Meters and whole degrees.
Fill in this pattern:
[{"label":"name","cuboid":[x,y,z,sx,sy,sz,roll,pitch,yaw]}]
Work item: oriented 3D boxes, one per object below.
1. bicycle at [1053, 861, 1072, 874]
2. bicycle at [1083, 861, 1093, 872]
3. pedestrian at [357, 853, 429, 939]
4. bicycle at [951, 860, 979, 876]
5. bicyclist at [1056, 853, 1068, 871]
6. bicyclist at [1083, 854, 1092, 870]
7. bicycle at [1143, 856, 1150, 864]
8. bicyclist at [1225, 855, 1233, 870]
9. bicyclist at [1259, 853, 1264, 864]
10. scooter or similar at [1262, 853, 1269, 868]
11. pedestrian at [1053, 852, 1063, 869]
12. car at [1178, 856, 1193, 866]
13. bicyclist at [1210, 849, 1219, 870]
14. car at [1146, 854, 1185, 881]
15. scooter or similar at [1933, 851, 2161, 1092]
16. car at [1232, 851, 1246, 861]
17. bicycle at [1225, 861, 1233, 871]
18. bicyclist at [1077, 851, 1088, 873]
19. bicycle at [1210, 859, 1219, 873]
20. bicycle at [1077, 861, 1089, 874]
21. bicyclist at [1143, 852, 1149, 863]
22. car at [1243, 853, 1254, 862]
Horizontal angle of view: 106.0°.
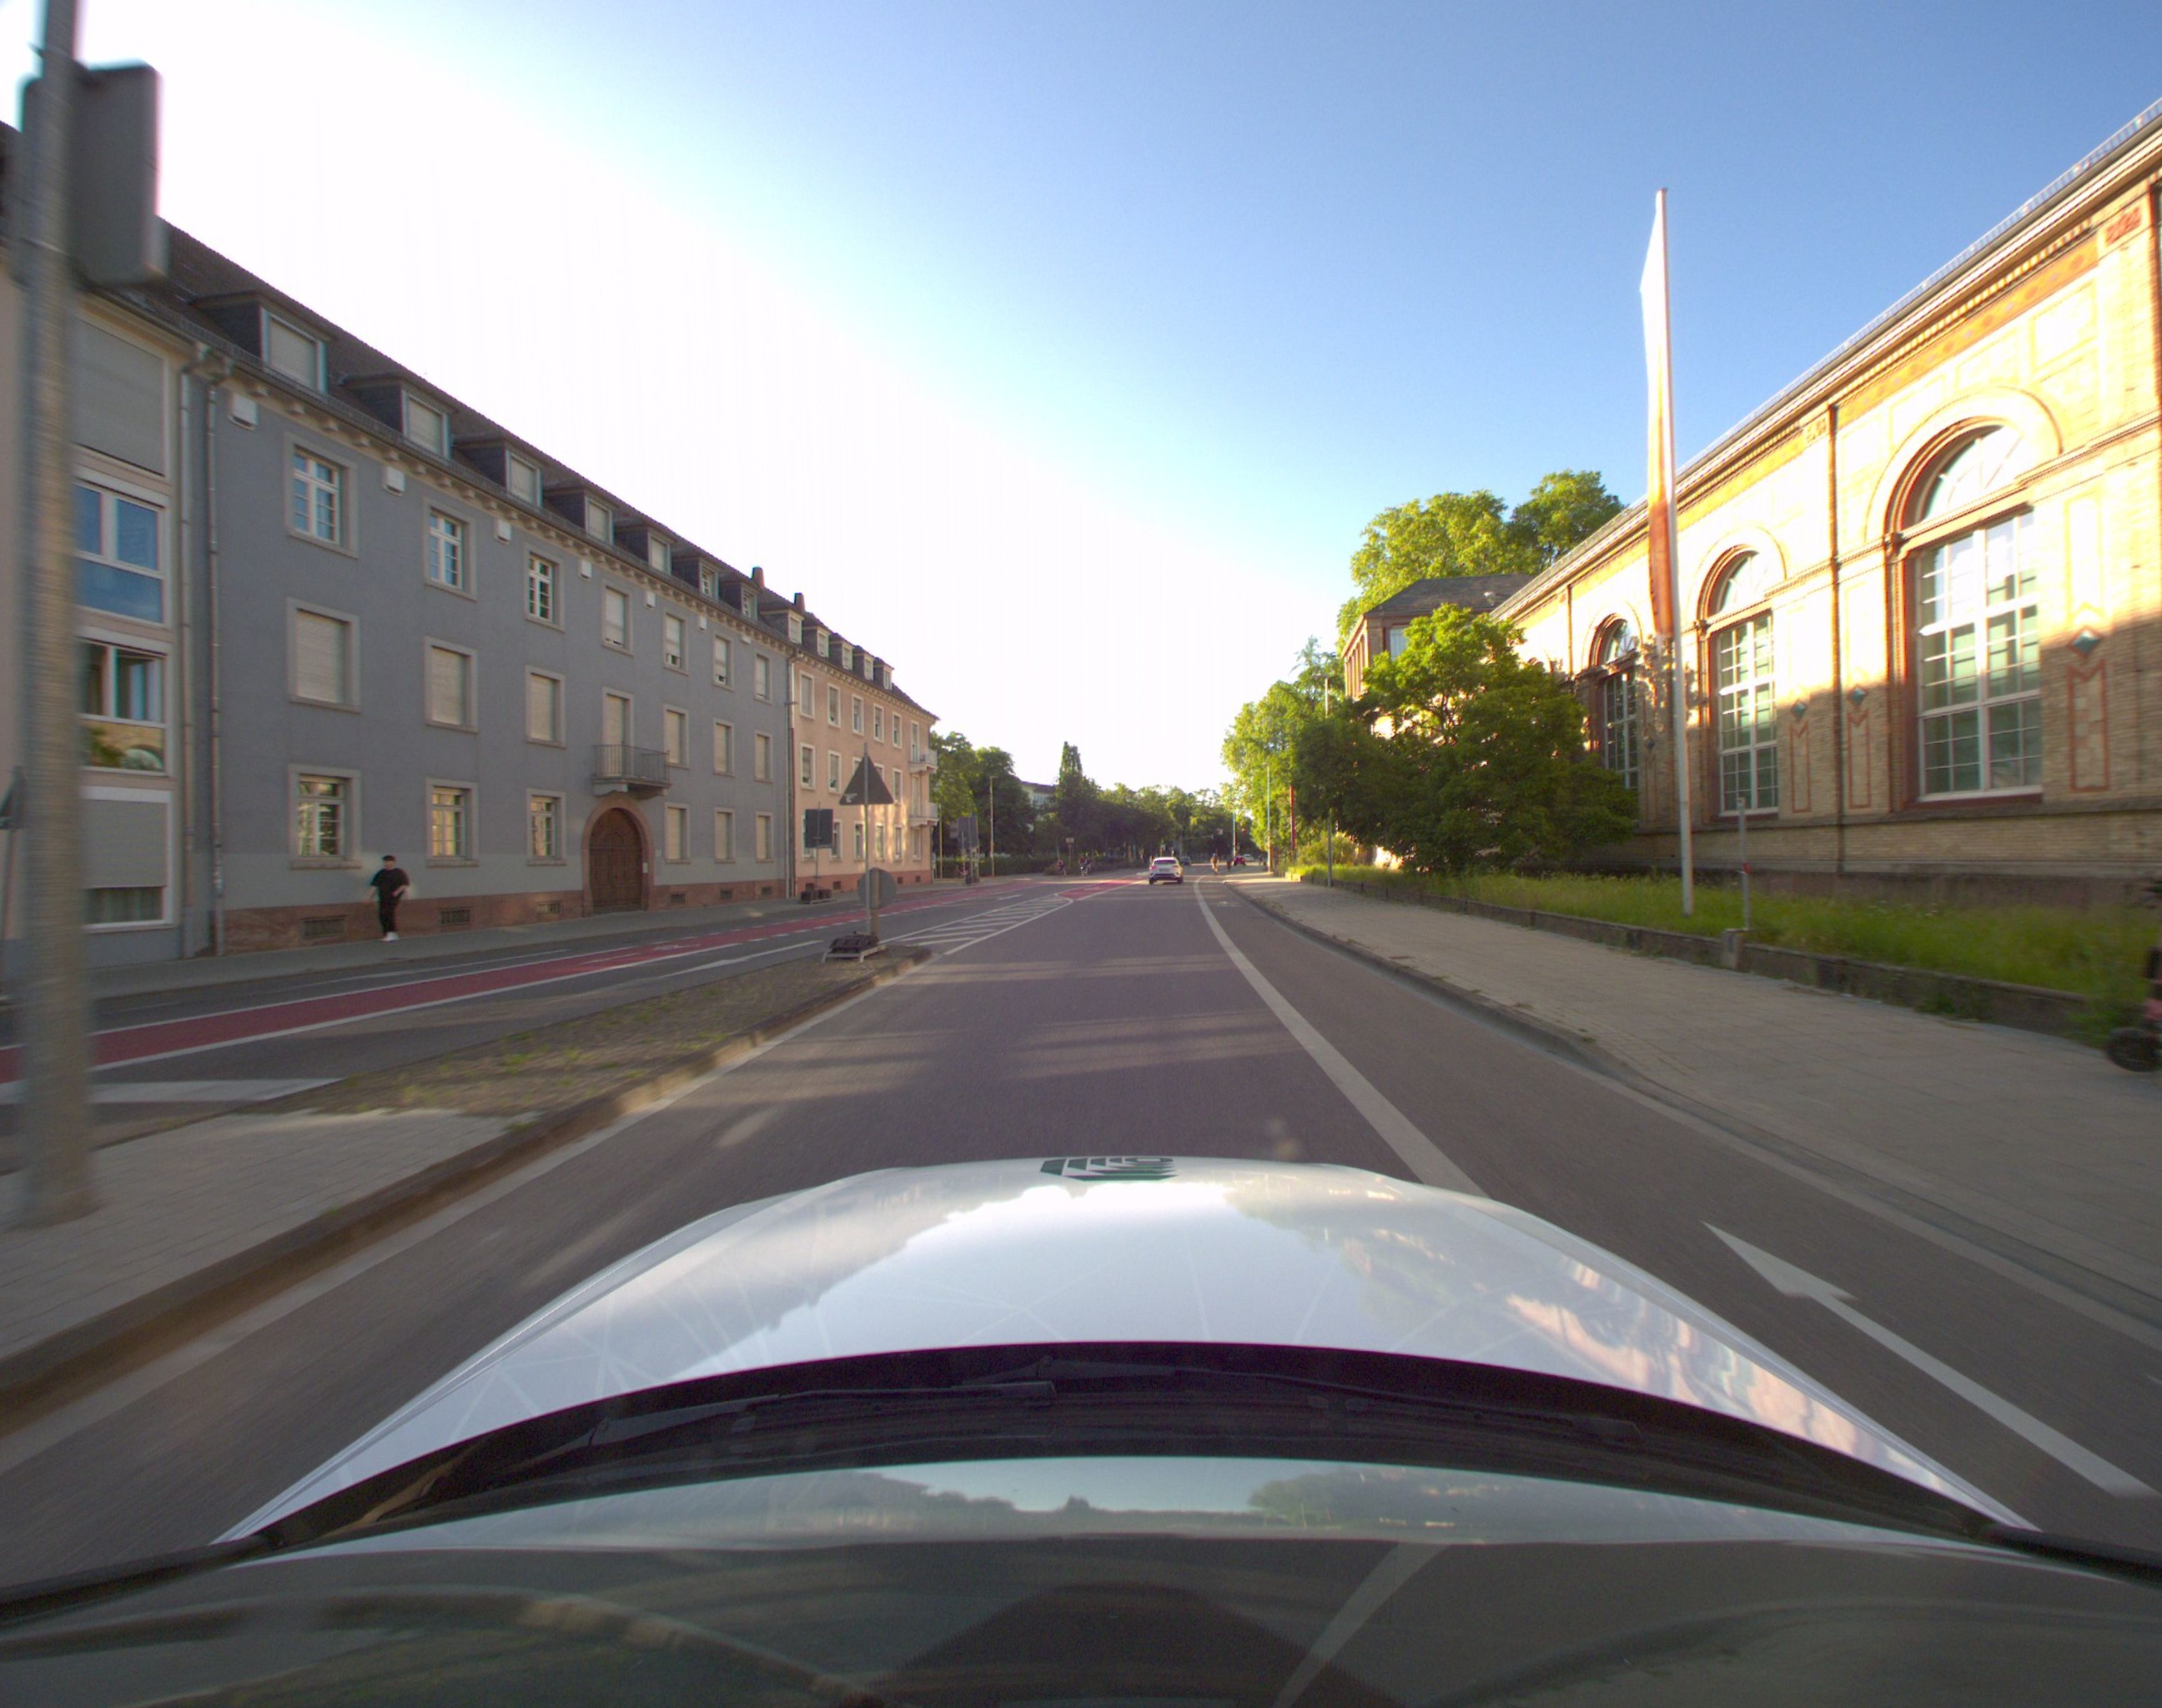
[{"label":"bicycle","cuboid":[-1.554,1.126,68.824,0.730,0.995,2.121,-2,1,25]},{"label":"bicycle","cuboid":[0.665,1.169,76.963,0.647,0.995,2.115,-3,0,9]},{"label":"pedestrian","cuboid":[-15.318,0.916,18.152,0.628,1.846,1.015,1,0,7]},{"label":"bicycle","cuboid":[-9.832,1.183,68.897,2.303,1.230,0.562,-2,0,13]},{"label":"bicyclist","cuboid":[-1.602,0.707,68.762,0.731,1.485,0.669,-3,-1,25]},{"label":"bicyclist","cuboid":[0.586,0.760,76.816,0.652,1.485,0.667,-4,-1,9]},{"label":"bicycle","cuboid":[9.182,0.847,114.468,0.593,1.120,2.034,-5,-1,12]},{"label":"bicyclist","cuboid":[15.429,0.873,84.822,0.742,1.537,0.973,-1,0,15]},{"label":"bicyclist","cuboid":[28.161,0.662,126.840,0.744,1.750,0.846,0,0,15]},{"label":"scooter or similar","cuboid":[16.087,0.567,71.174,0.296,1.240,1.160,-2,-1,-1]},{"label":"pedestrian","cuboid":[-2.578,0.740,90.807,0.850,1.851,1.005,-2,-1,13]},{"label":"car","cuboid":[16.122,1.023,125.640,1.745,1.459,4.017,-2,0,16]},{"label":"bicyclist","cuboid":[10.162,0.429,61.945,0.632,1.614,1.288,0,0,11]},{"label":"car","cuboid":[4.927,0.772,46.959,1.982,1.453,4.010,-2,-1,9]},{"label":"scooter or similar","cuboid":[6.243,0.645,4.849,0.552,1.308,1.835,-1,0,6]},{"label":"car","cuboid":[24.509,0.264,126.142,1.915,1.533,4.016,-2,-1,15]},{"label":"bicycle","cuboid":[15.412,1.239,84.714,0.747,1.026,1.877,0,-1,15]},{"label":"bicyclist","cuboid":[0.153,0.613,65.102,0.632,1.710,0.740,-4,-1,9]},{"label":"bicycle","cuboid":[10.146,0.871,61.869,0.639,1.025,2.219,0,0,11]},{"label":"bicycle","cuboid":[0.175,1.068,64.938,0.642,0.995,2.115,-3,0,9]},{"label":"bicyclist","cuboid":[9.159,0.446,114.530,0.625,1.522,0.727,-4,-1,12]},{"label":"car","cuboid":[32.090,0.652,155.597,1.723,1.546,4.017,-1,0,16]}]
